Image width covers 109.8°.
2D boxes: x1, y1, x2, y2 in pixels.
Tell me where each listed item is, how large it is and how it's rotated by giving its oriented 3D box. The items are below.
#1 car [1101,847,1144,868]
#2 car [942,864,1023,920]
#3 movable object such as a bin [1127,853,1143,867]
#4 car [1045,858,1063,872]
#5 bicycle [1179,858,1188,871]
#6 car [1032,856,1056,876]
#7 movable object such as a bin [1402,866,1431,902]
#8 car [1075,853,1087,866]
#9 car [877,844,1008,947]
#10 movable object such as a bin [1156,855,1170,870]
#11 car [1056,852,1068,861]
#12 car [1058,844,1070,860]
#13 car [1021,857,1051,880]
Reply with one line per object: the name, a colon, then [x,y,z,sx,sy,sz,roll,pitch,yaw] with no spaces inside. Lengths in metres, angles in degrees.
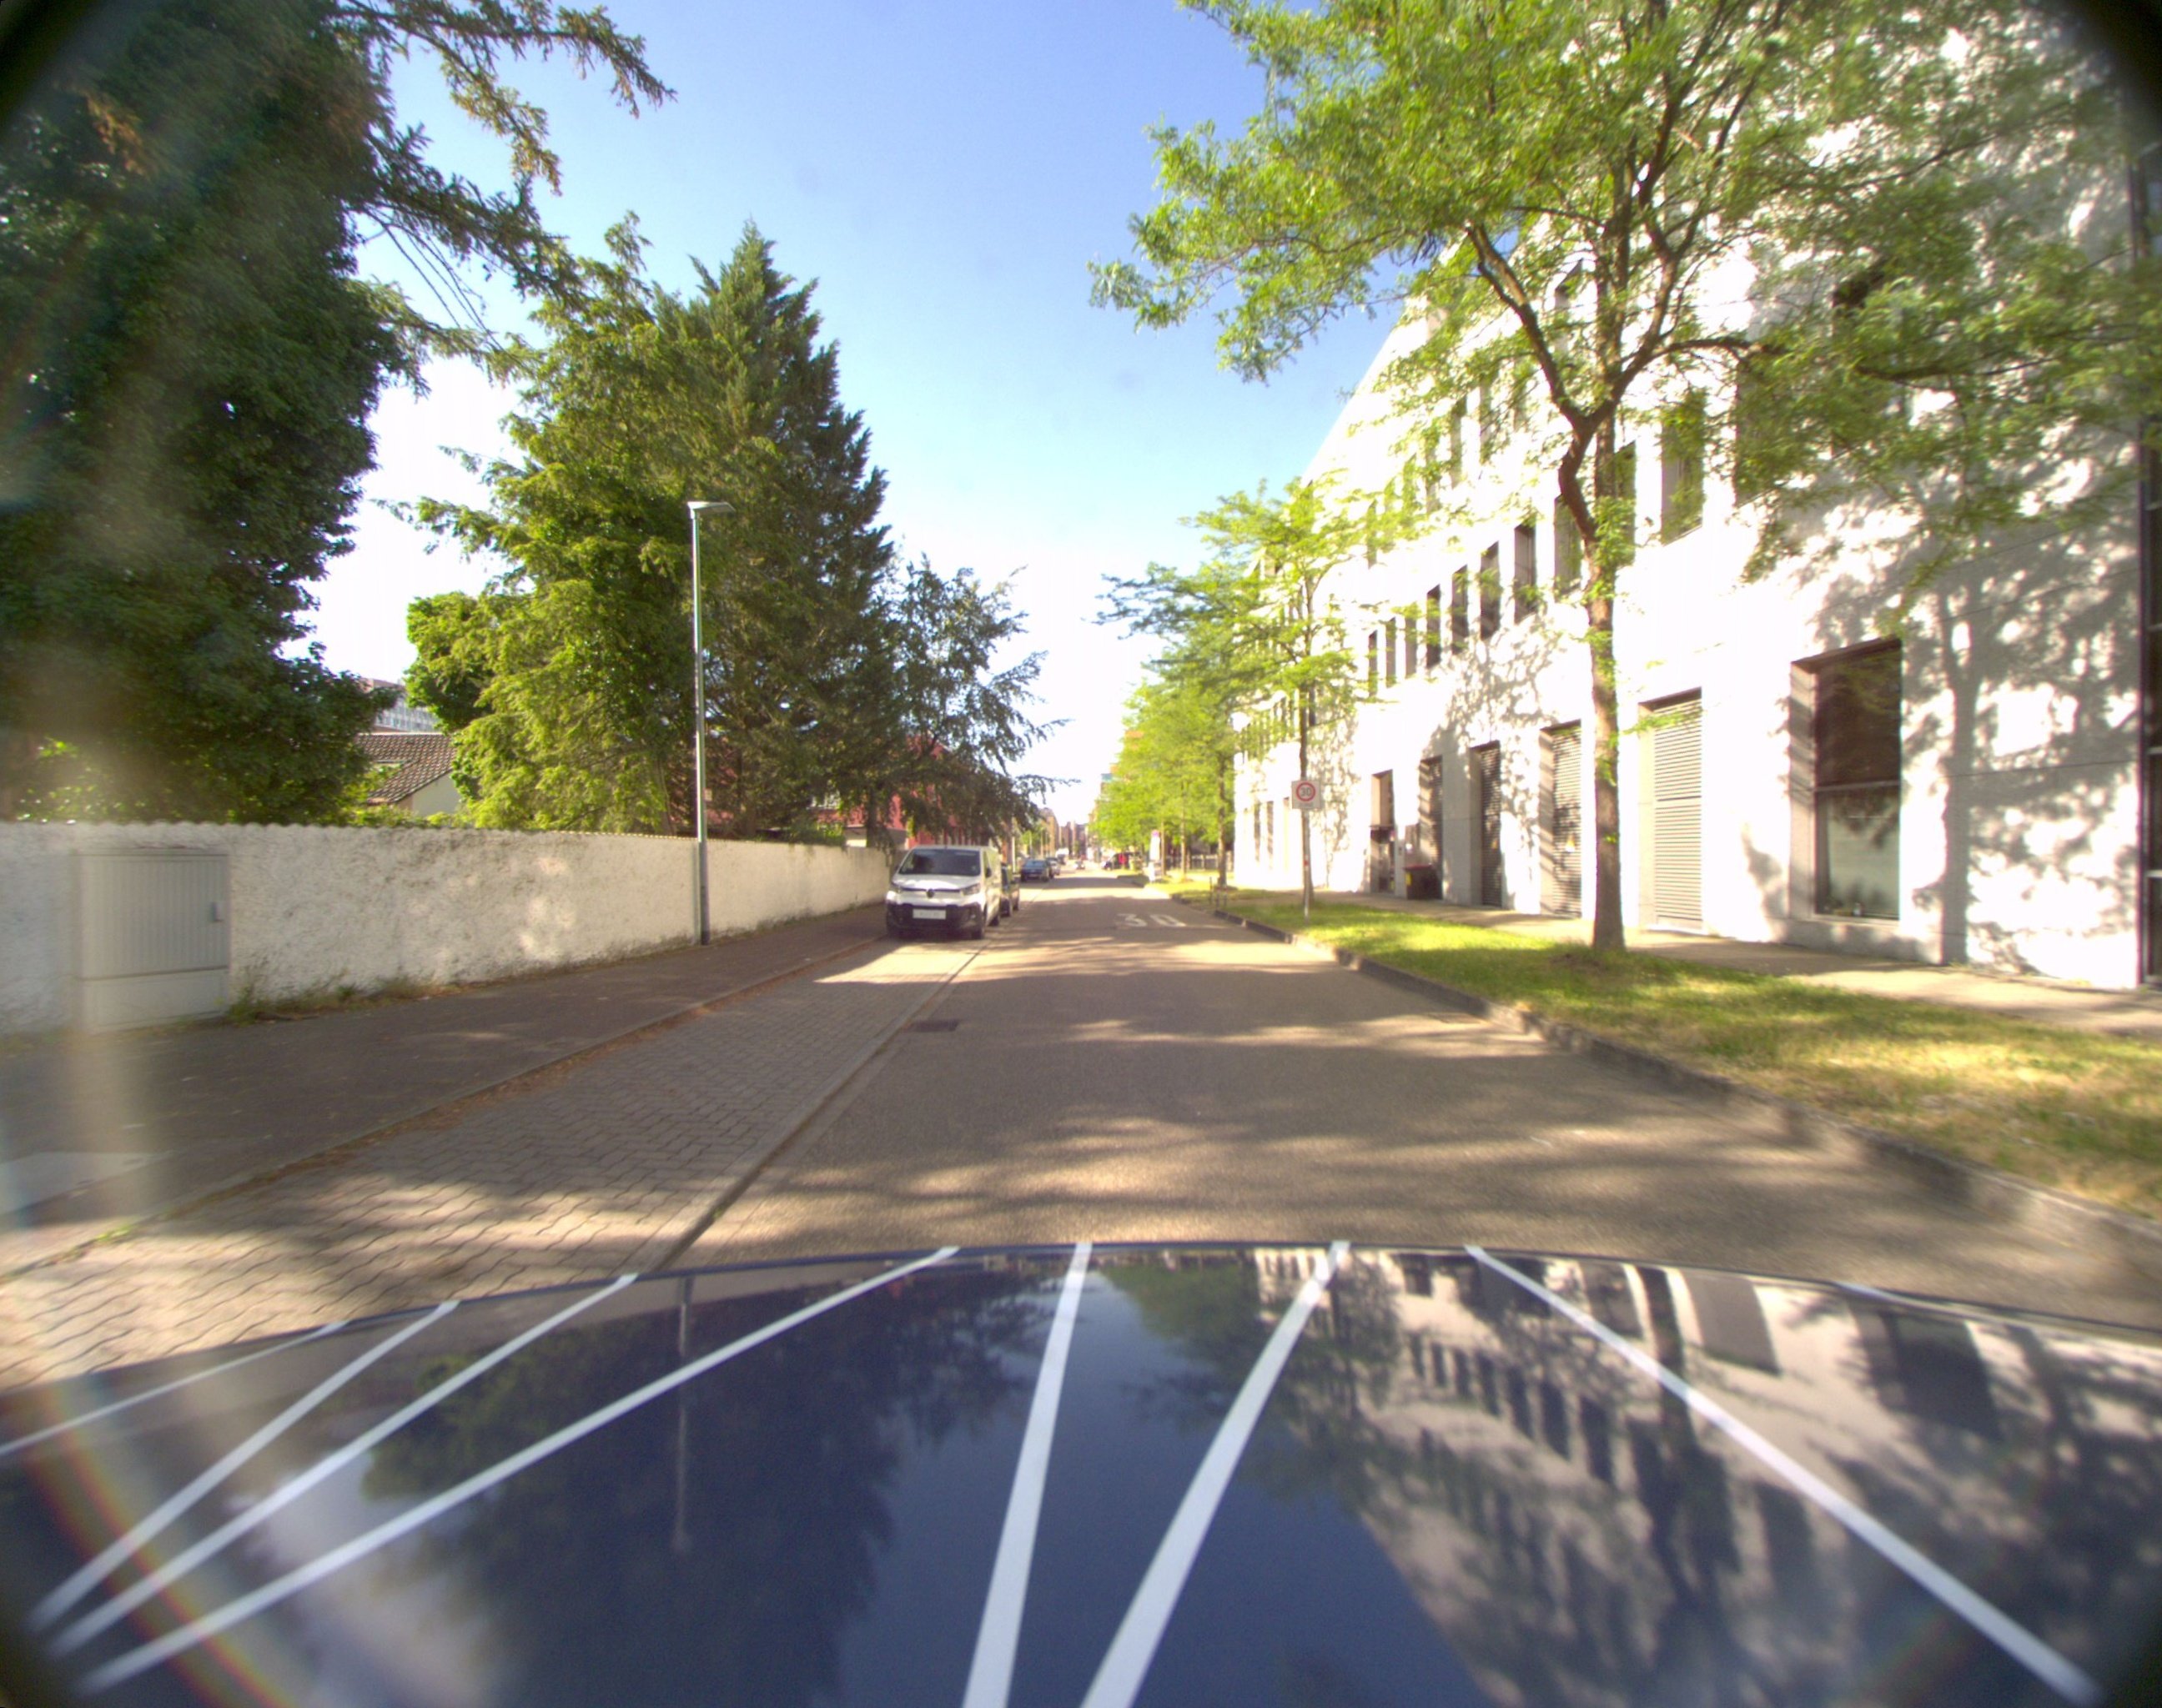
car: [5.467,0.426,100.360,5.490,2.526,1.986,-3,1,-1]
car: [-2.806,1.051,22.543,1.830,1.415,4.283,0,0,0]
movable object such as a bin: [6.468,0.705,91.248,1.524,1.559,1.345,-2,0,-10]
car: [-2.873,1.114,80.859,1.699,1.447,3.889,0,0,0]
bicycle: [9.637,0.955,71.442,0.602,1.185,1.727,-2,0,0]
car: [-3.210,1.033,66.725,1.878,1.620,4.406,0,0,0]
movable object such as a bin: [10.009,0.877,22.687,0.594,1.034,0.543,-2,1,-2]
car: [0.021,0.766,115.731,1.903,1.974,4.372,0,0,0]
car: [-2.818,0.765,16.680,1.903,1.903,5.148,0,0,0]
movable object such as a bin: [9.194,0.971,84.947,1.522,1.559,1.347,-2,0,5]
car: [-3.471,0.505,138.773,1.903,1.585,4.372,0,0,0]
car: [-4.382,-0.536,198.663,2.913,3.920,6.325,0,0,1]
car: [-3.227,1.012,55.347,1.903,1.620,4.372,0,0,0]
